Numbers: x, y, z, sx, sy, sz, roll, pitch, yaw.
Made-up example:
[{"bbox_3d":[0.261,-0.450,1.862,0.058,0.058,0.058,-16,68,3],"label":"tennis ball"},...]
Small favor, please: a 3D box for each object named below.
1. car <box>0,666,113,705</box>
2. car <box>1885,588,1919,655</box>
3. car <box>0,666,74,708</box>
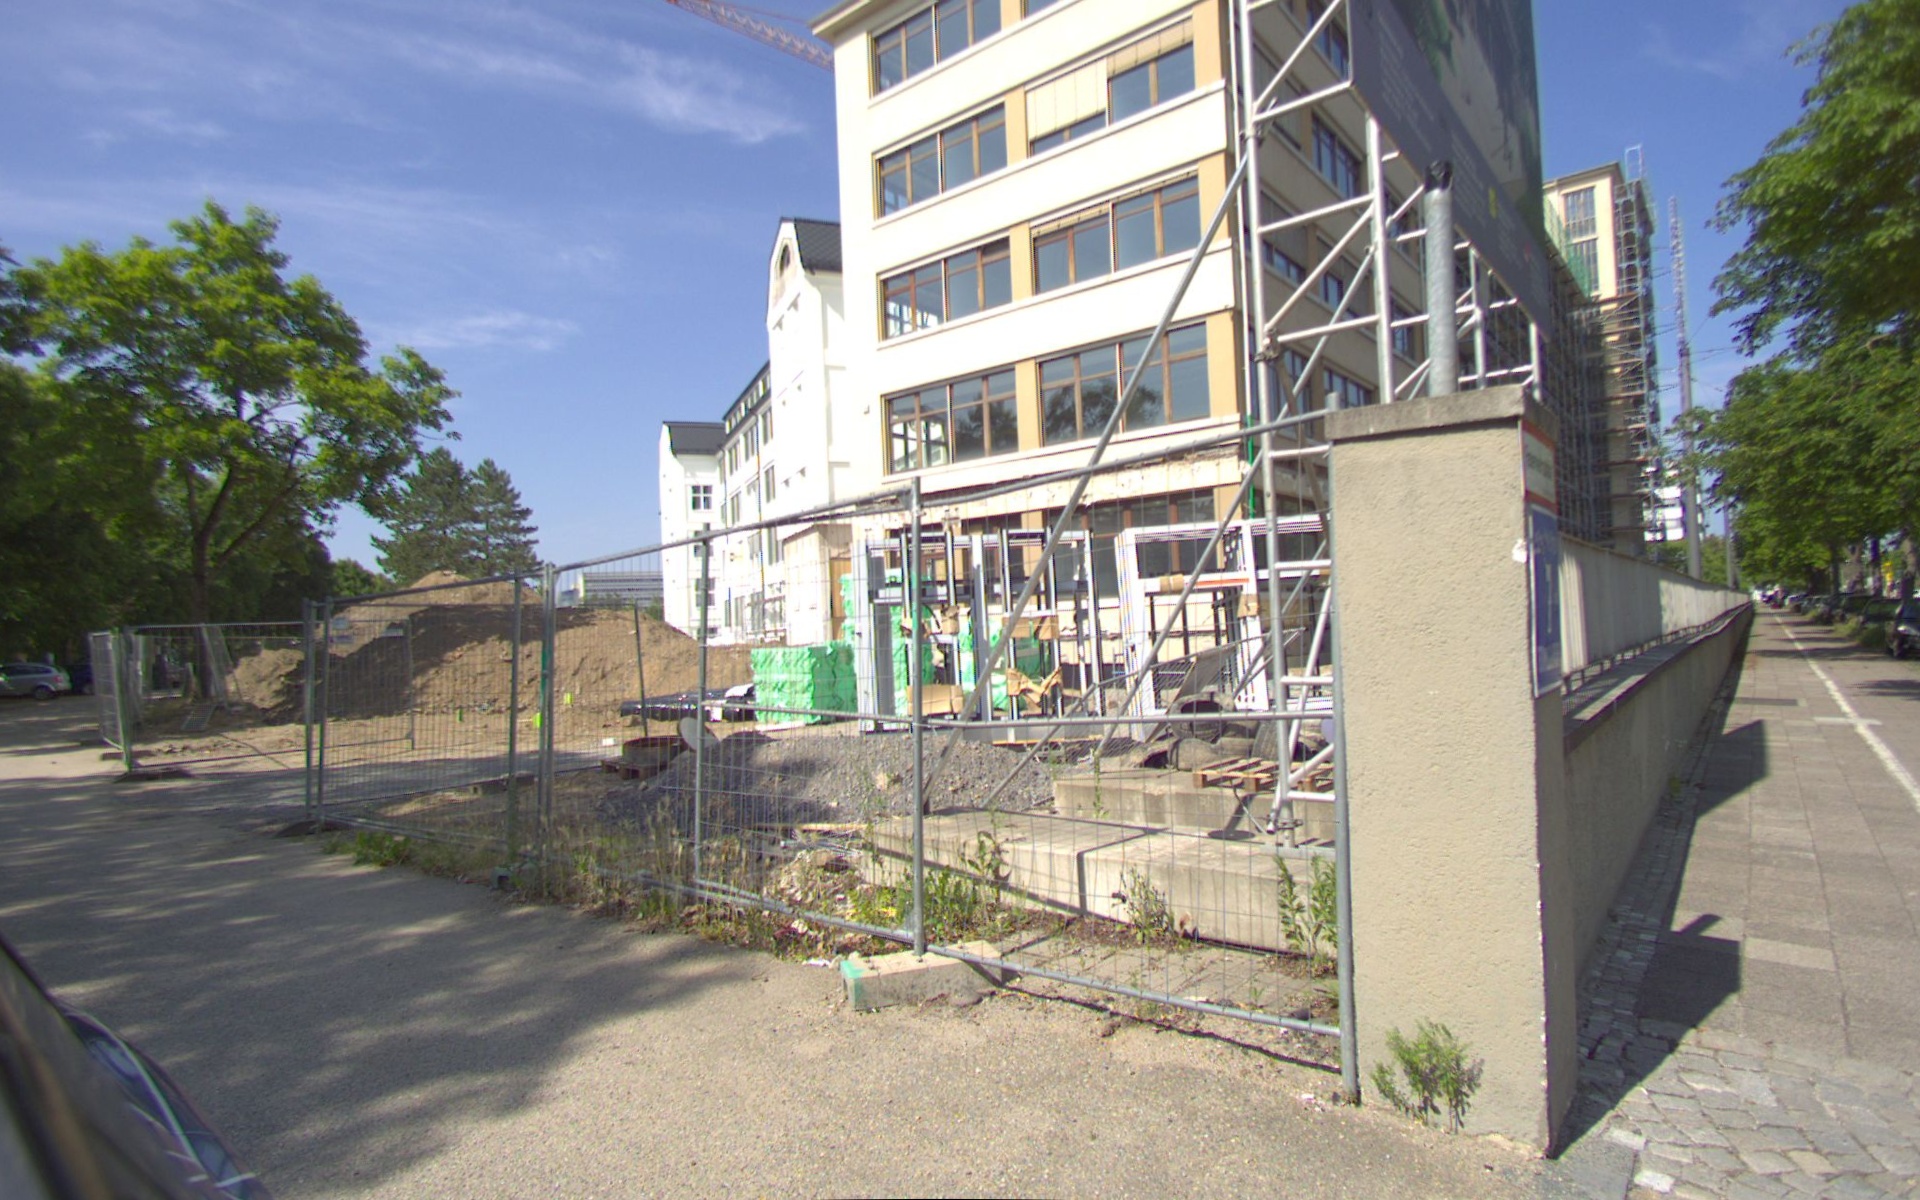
[{"bbox_3d":[-40.668,3.803,45.276,3.932,1.453,2.006,-1,-2,-31],"label":"car"},{"bbox_3d":[22.669,0.435,23.170,1.819,1.464,3.949,-4,-2,38],"label":"car"},{"bbox_3d":[-38.255,3.521,40.469,3.932,1.519,2.006,-1,-2,-31],"label":"car"}]
